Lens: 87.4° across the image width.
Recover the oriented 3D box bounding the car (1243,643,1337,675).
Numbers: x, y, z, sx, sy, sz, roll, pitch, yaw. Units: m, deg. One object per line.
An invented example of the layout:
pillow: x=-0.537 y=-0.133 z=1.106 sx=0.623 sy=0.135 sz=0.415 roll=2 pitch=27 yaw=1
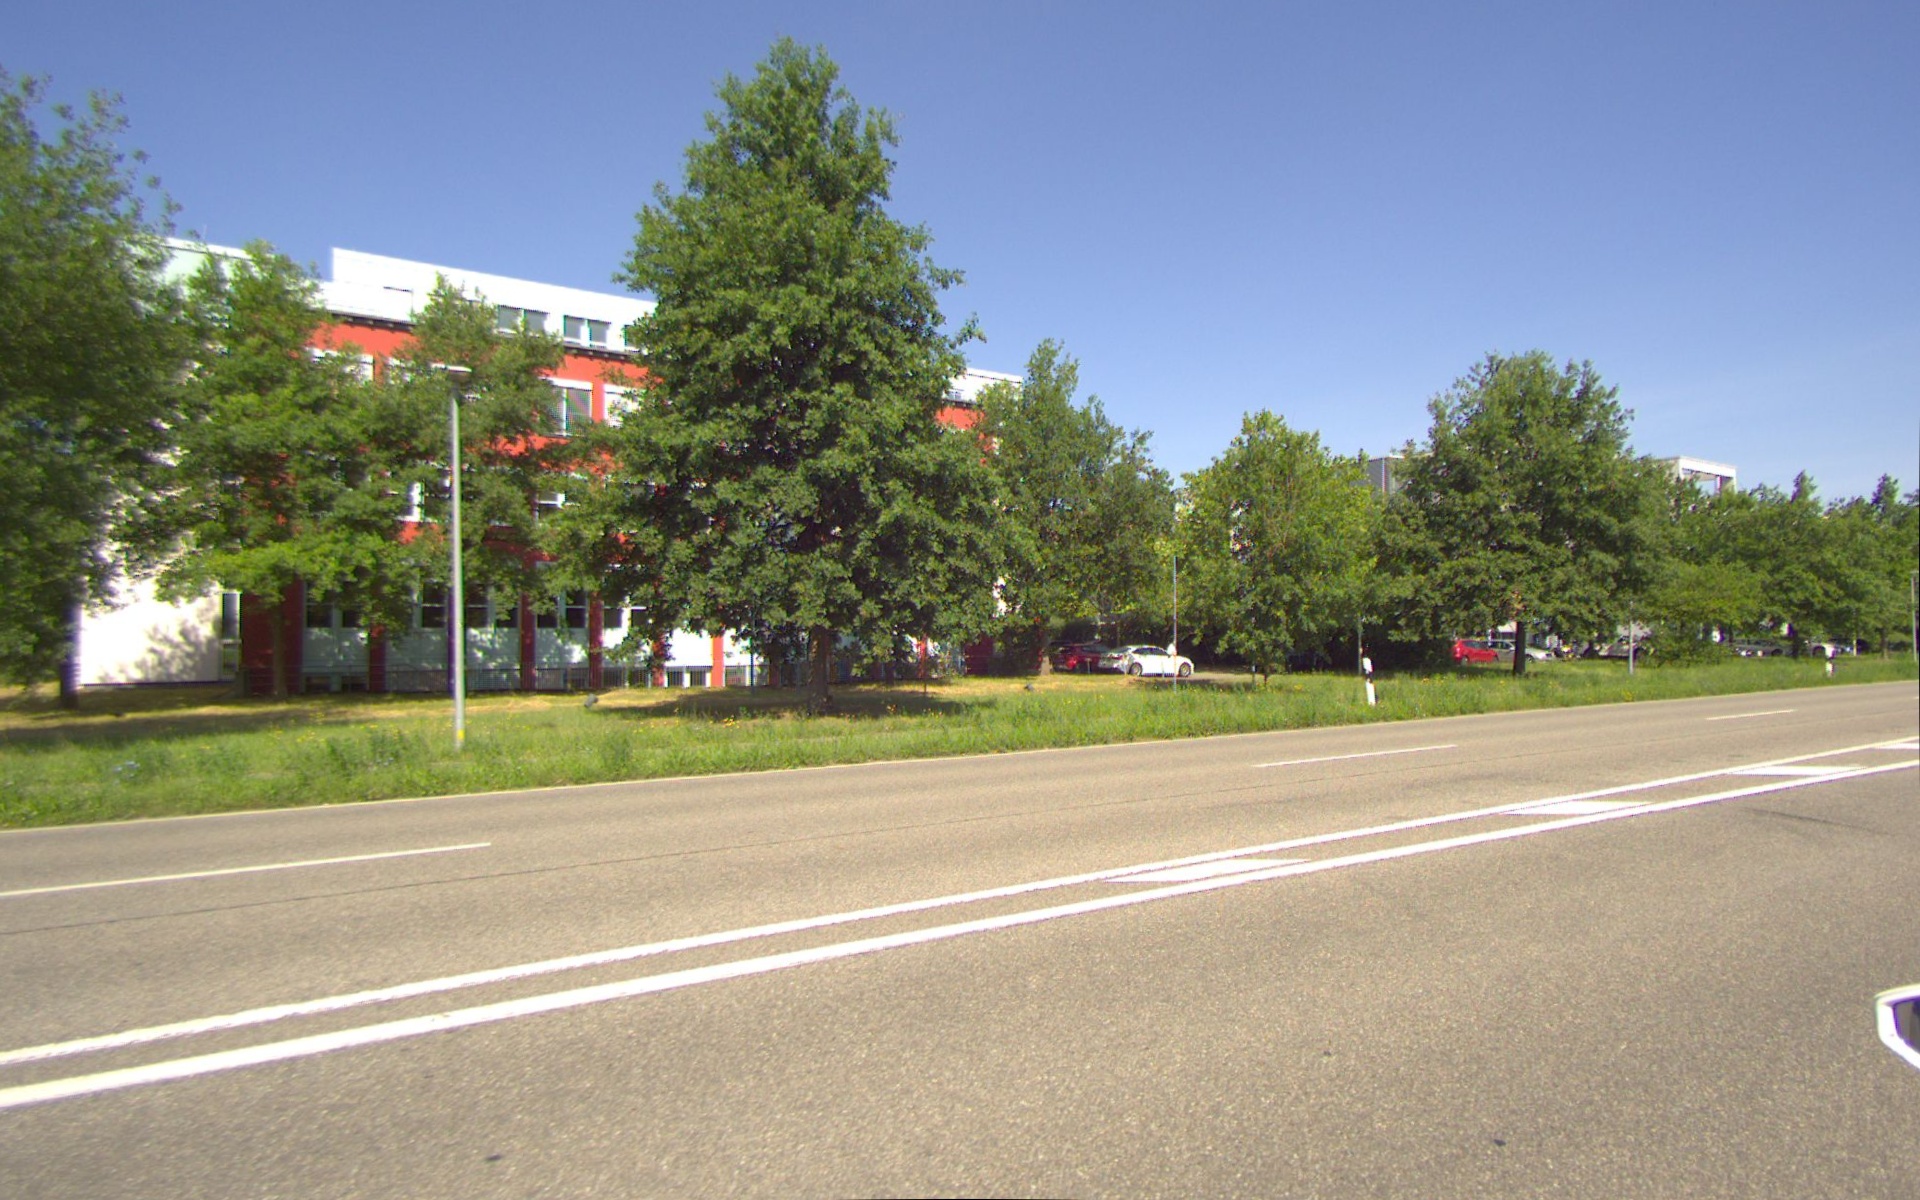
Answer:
car: x=16.486 y=2.927 z=50.186 sx=4.556 sy=1.456 sz=1.984 roll=1 pitch=-2 yaw=-31

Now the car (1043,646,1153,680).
car: x=6.439 y=2.901 z=46.778 sx=4.893 sy=1.456 sz=1.985 roll=1 pitch=-2 yaw=-29

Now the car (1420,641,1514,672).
car: x=25.619 y=2.808 z=50.749 sx=4.552 sy=1.456 sz=1.986 roll=1 pitch=-2 yaw=-28

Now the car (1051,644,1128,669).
car: x=8.107 y=3.522 z=62.931 sx=4.556 sy=1.456 sz=1.984 roll=1 pitch=-2 yaw=-31

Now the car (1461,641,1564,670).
car: x=29.981 y=2.974 z=54.687 sx=1.976 sy=1.456 sz=4.574 roll=1 pitch=-2 yaw=-30

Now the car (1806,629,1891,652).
car: x=68.776 y=3.147 z=77.803 sx=1.974 sy=1.781 sz=4.518 roll=1 pitch=-3 yaw=-27

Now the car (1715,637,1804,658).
car: x=57.202 y=3.363 z=71.970 sx=1.976 sy=1.456 sz=4.574 roll=1 pitch=-2 yaw=-30

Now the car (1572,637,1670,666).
car: x=40.038 y=3.068 z=60.991 sx=1.976 sy=1.672 sz=4.574 roll=1 pitch=-2 yaw=-30

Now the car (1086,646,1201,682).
car: x=8.211 y=2.808 z=44.816 sx=4.893 sy=1.456 sz=1.985 roll=1 pitch=-2 yaw=-29

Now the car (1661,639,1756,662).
car: x=48.758 y=3.261 z=65.502 sx=1.976 sy=1.456 sz=4.574 roll=1 pitch=-2 yaw=-30

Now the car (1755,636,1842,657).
car: x=62.691 y=3.456 z=75.192 sx=1.976 sy=1.456 sz=4.574 roll=1 pitch=-2 yaw=-30
